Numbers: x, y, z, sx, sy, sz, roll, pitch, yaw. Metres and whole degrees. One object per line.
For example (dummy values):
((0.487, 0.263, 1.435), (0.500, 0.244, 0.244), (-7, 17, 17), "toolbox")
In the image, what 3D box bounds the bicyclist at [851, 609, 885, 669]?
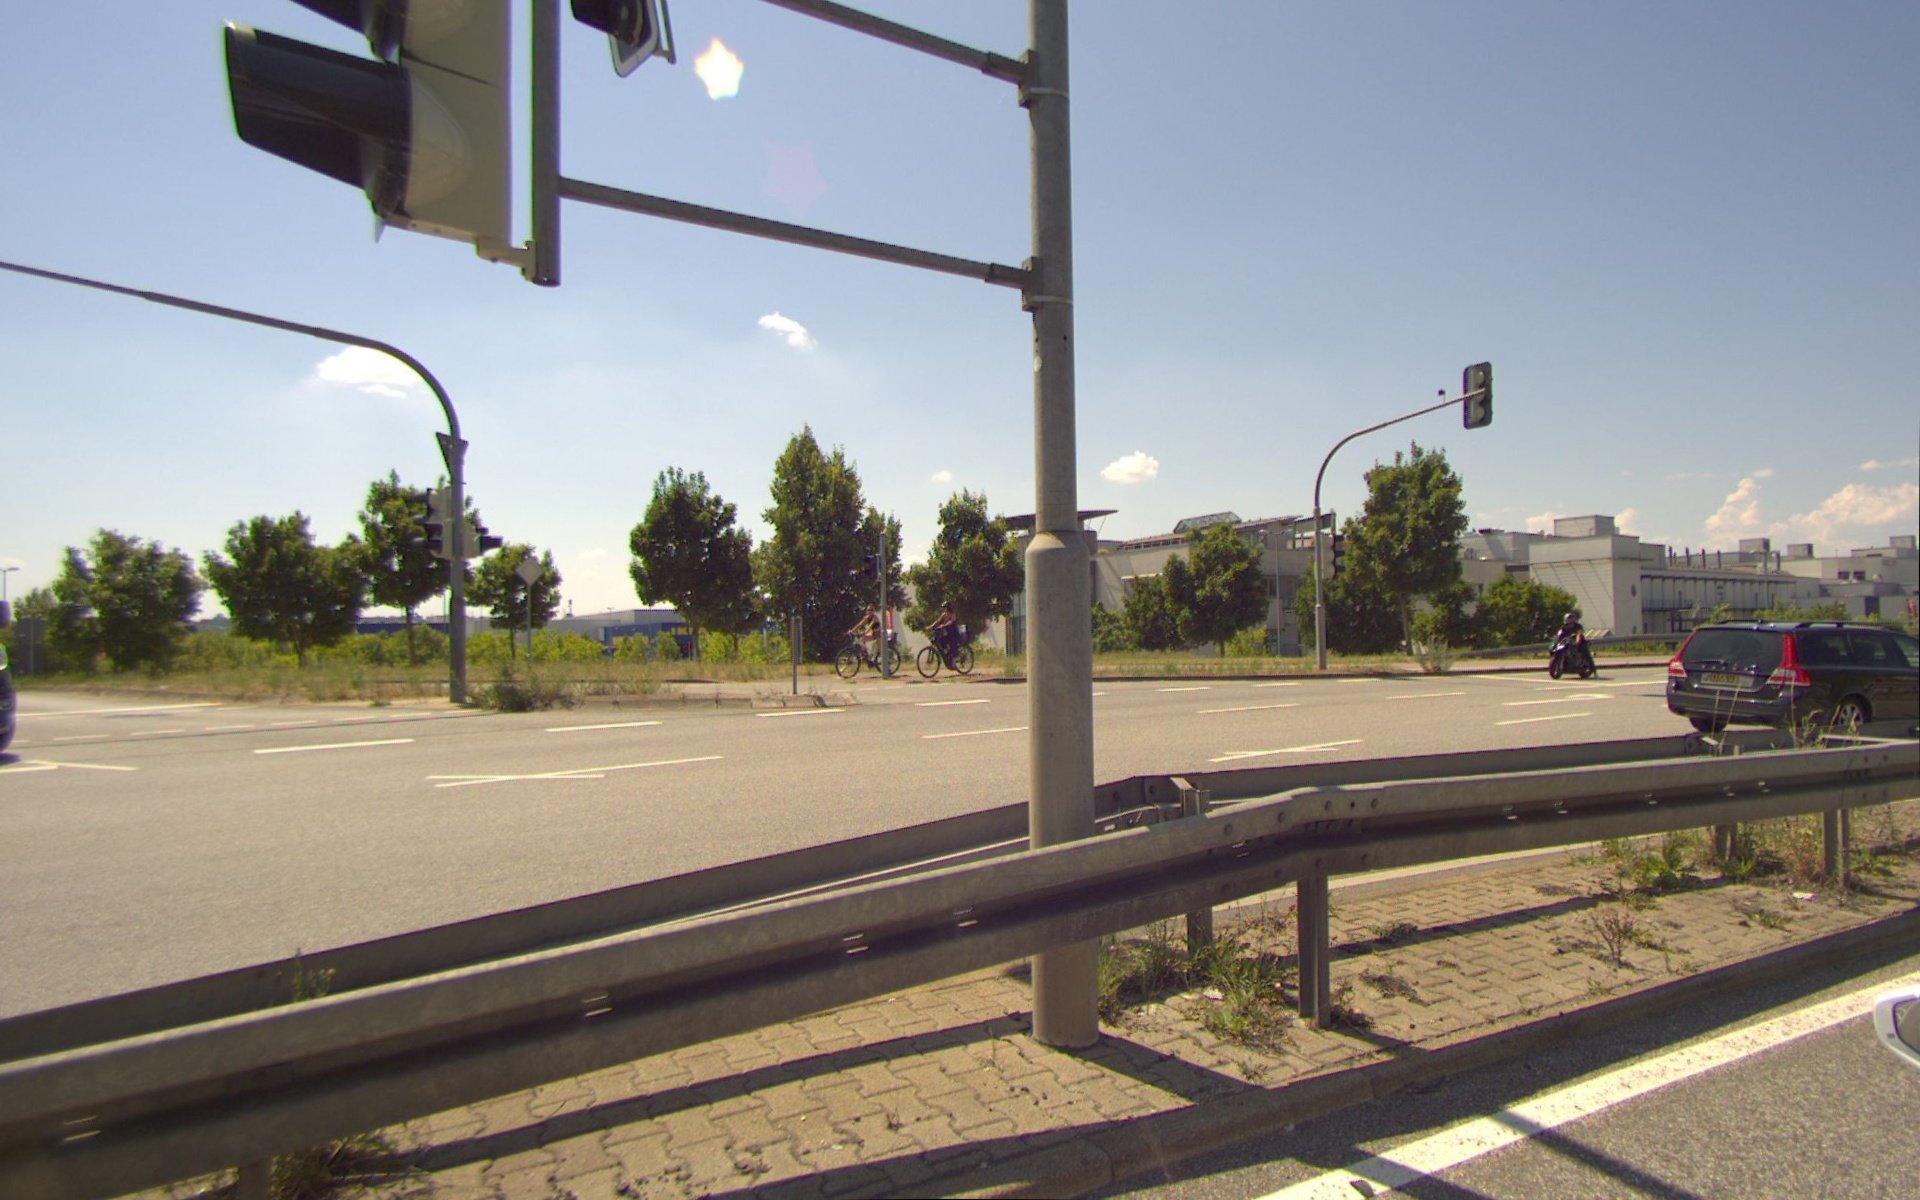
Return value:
((-2.233, 0.939, 24.374), (0.679, 1.423, 0.404), (2, 0, -40), "bicyclist")

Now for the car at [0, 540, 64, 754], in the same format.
((-11.458, 0.504, 9.969), (5.313, 1.963, 2.123), (-2, -3, 28), "car")

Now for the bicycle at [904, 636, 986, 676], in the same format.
((-0.337, 1.324, 24.049), (2.110, 0.864, 0.529), (1, 0, -41), "bicycle")

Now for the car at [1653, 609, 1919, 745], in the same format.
((11.607, 0.952, 13.176), (4.660, 1.566, 1.730), (1, -2, -19), "car")

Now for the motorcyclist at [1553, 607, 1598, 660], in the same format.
((15.713, 0.862, 25.659), (0.714, 1.320, 0.672), (1, -3, -29), "motorcyclist")

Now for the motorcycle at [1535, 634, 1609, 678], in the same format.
((15.591, 1.414, 25.568), (2.257, 1.094, 0.560), (1, -2, -29), "motorcycle")

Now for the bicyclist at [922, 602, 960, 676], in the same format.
((-0.454, 0.914, 23.935), (0.725, 1.741, 0.525), (1, 0, -41), "bicyclist")

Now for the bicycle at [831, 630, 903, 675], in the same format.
((-2.241, 1.254, 24.372), (1.817, 1.038, 0.410), (1, 0, -40), "bicycle")
